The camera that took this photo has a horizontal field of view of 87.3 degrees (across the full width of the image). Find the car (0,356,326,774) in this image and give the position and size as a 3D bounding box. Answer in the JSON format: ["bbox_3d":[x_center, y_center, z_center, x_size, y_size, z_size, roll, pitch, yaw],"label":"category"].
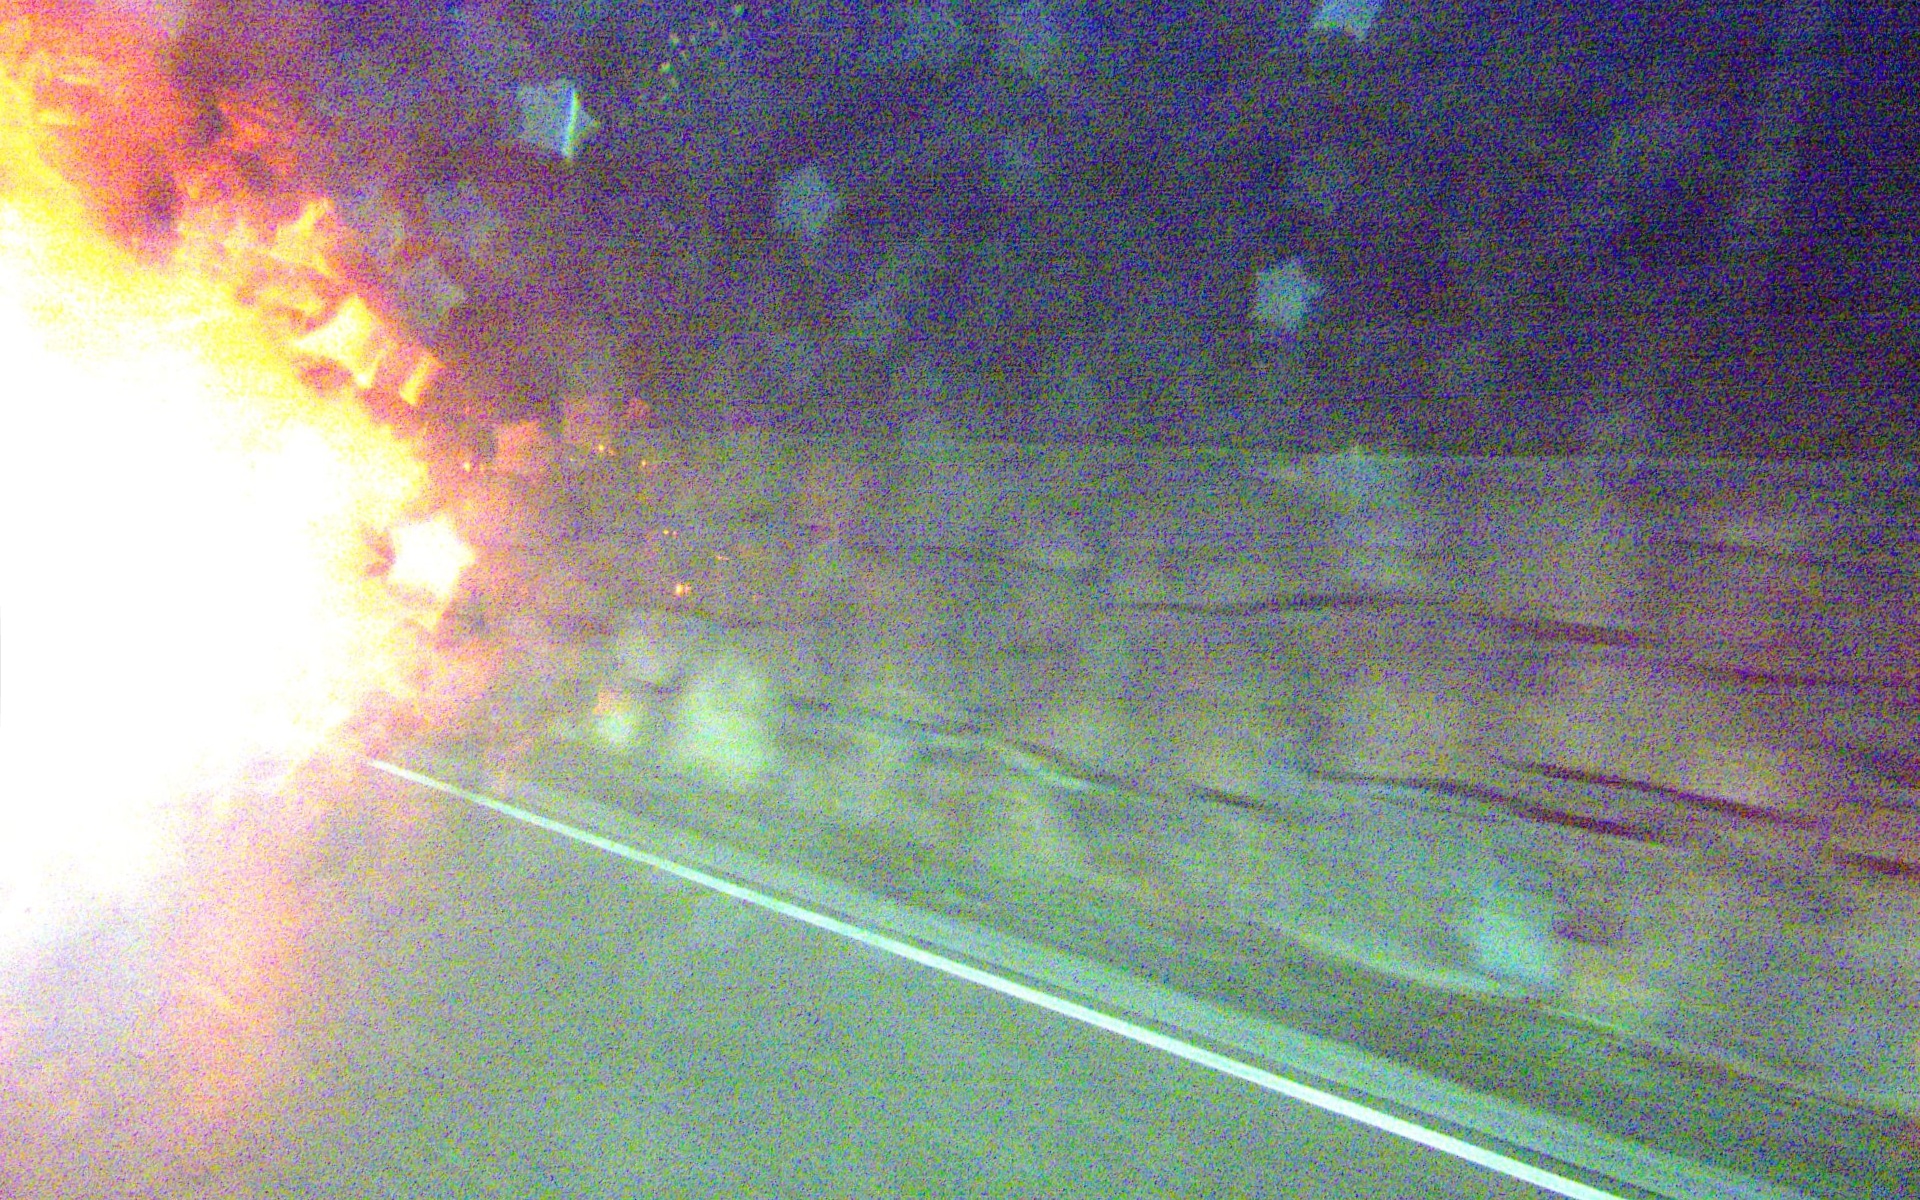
[{"bbox_3d":[-6.357,-0.336,6.548,4.503,2.045,1.795,7,-1,32],"label":"car"}]
